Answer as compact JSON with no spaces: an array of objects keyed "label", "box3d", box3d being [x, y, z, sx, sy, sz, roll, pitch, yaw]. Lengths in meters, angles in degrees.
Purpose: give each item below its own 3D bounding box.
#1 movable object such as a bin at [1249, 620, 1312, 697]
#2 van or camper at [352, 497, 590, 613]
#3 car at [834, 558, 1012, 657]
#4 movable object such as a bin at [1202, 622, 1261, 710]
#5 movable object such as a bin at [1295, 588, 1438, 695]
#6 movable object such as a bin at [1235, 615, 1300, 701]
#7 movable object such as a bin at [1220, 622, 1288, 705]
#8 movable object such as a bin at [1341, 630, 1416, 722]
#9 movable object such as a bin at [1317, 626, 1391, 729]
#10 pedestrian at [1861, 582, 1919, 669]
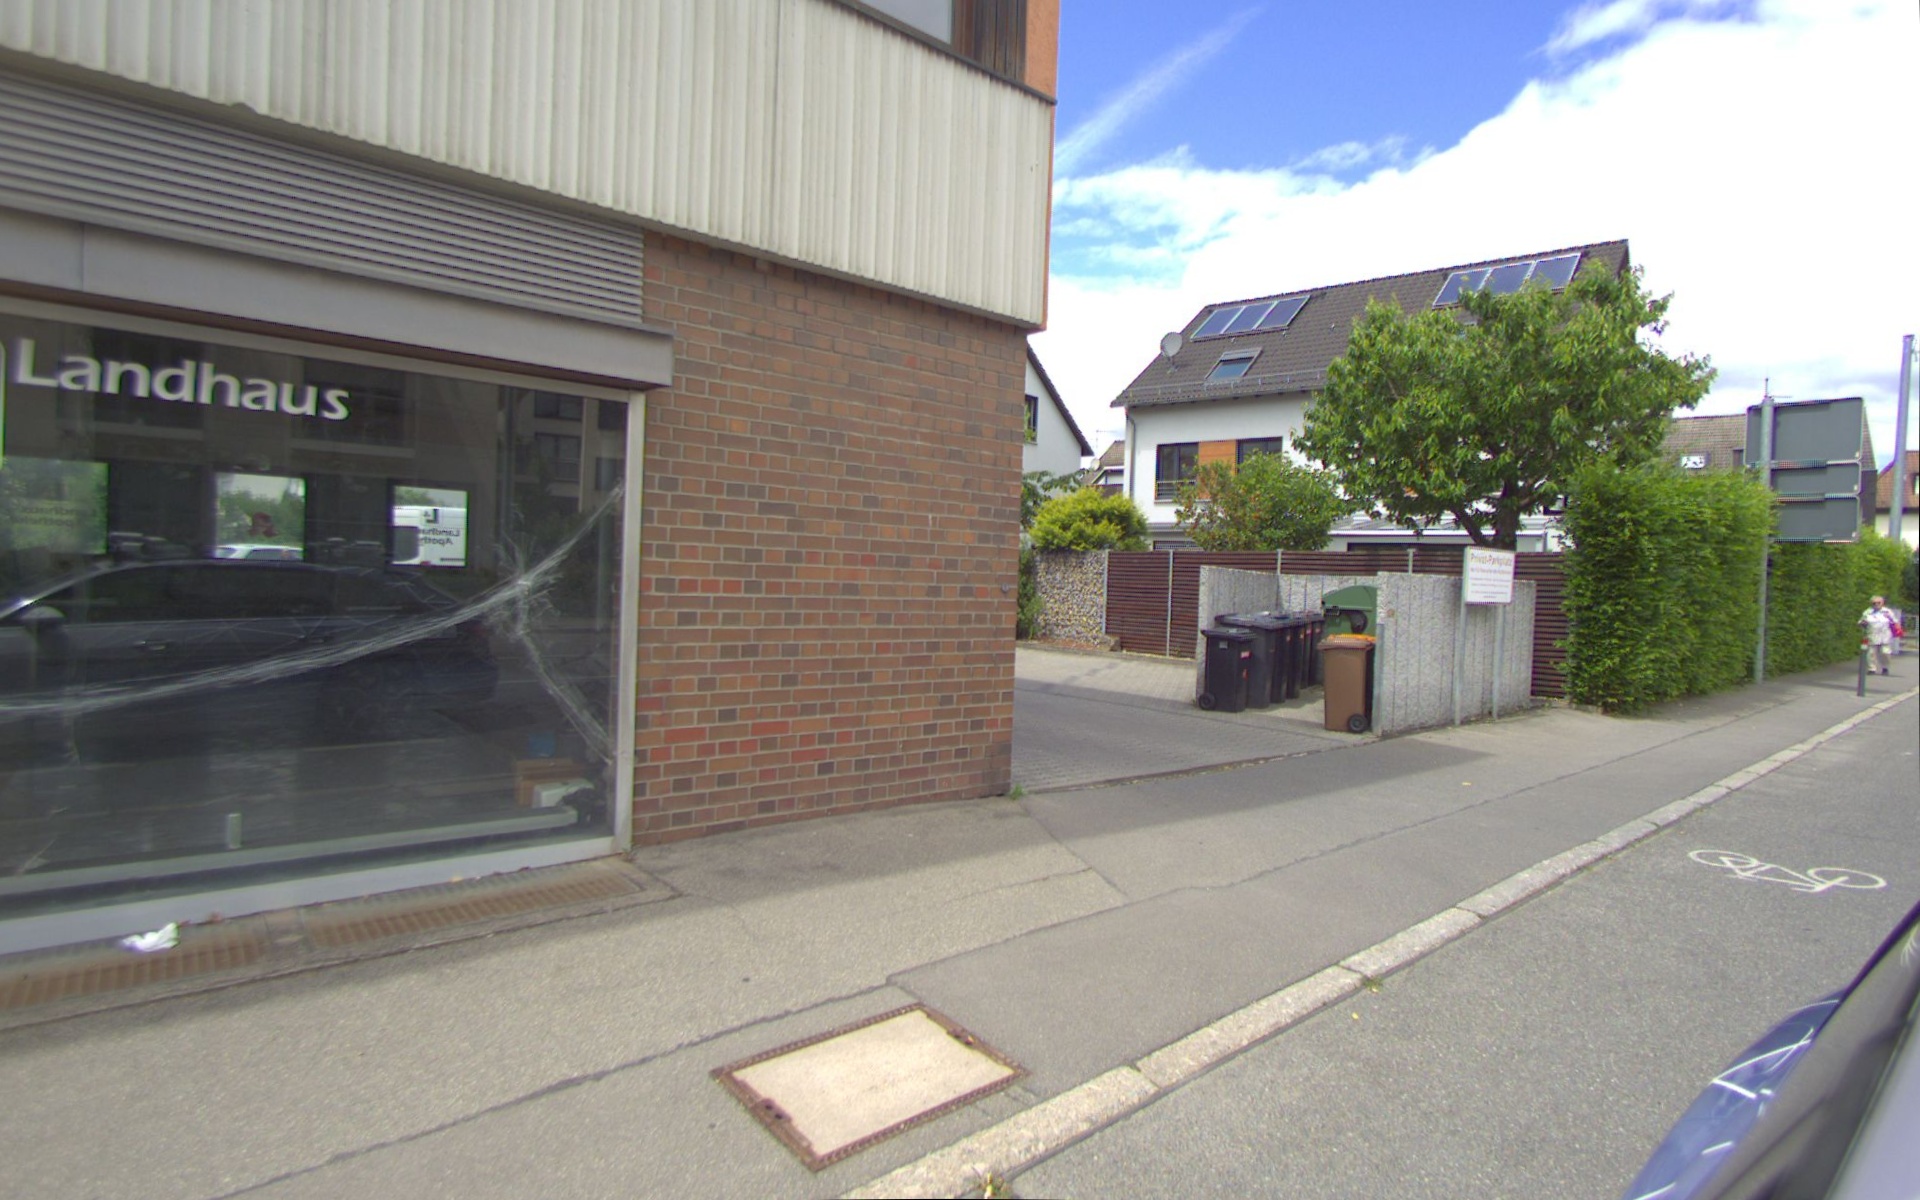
[{"label":"movable object such as a bin","box3d":[4.029,0.717,12.725,0.630,0.903,0.534,1,1,33]},{"label":"van or camper","box3d":[-12.049,-1.073,25.470,2.034,2.574,5.474,2,1,21]},{"label":"car","box3d":[-0.552,0.081,18.344,1.768,1.555,3.767,2,2,23]},{"label":"movable object such as a bin","box3d":[3.056,0.728,11.395,0.490,0.924,0.534,1,1,33]},{"label":"movable object such as a bin","box3d":[5.304,0.495,13.189,1.509,1.278,1.190,0,1,-43]},{"label":"movable object such as a bin","box3d":[3.727,0.684,12.271,0.624,0.979,0.534,1,1,33]},{"label":"movable object such as a bin","box3d":[3.434,0.725,11.808,0.630,0.903,0.534,1,1,33]},{"label":"movable object such as a bin","box3d":[4.491,0.794,10.852,0.532,0.903,0.668,2,1,43]},{"label":"movable object such as a bin","box3d":[4.003,0.768,10.274,0.530,0.963,0.678,1,1,36]},{"label":"pedestrian","box3d":[18.509,0.494,20.061,0.641,1.637,0.801,1,3,-39]}]
